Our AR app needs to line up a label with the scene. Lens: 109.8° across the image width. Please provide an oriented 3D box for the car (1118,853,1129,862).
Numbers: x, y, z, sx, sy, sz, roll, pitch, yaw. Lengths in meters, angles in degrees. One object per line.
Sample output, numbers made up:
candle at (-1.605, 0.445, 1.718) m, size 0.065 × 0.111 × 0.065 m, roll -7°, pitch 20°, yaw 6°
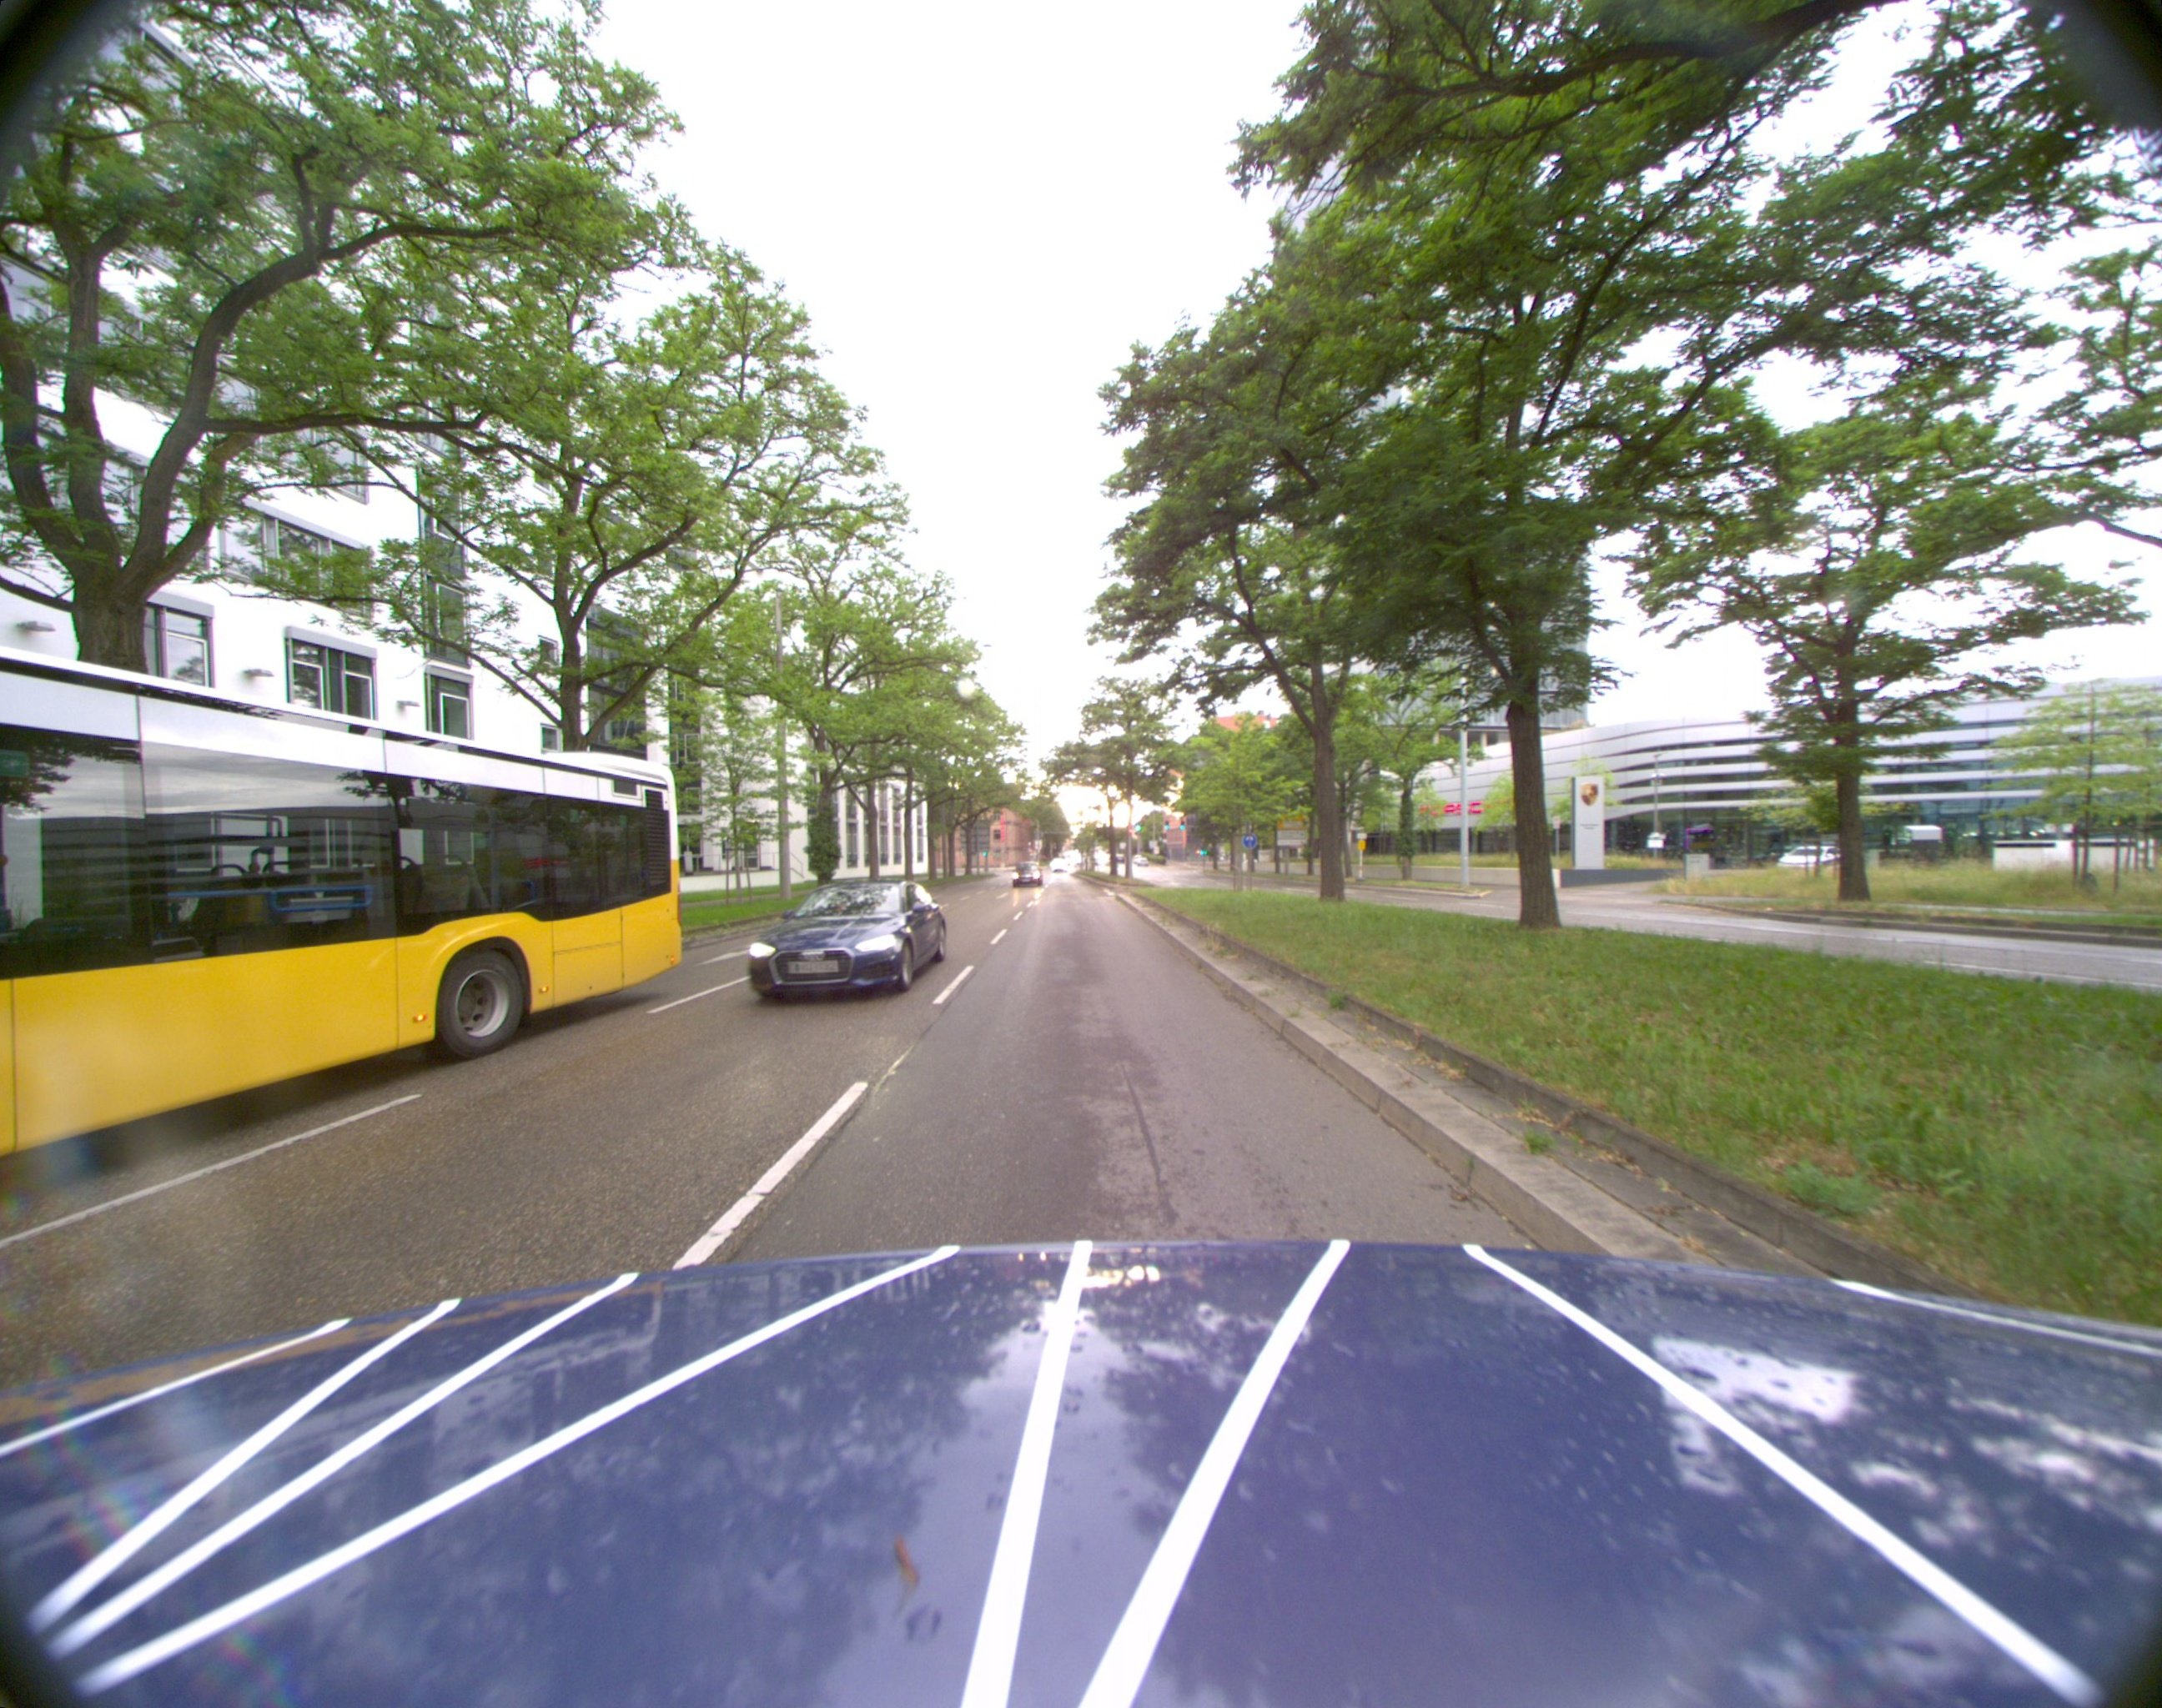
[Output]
car at (8.347, 0.707, 150.392) m, size 1.846 × 1.581 × 4.172 m, roll 0°, pitch 1°, yaw -2°

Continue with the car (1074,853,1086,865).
car at (-0.098, 0.832, 127.957) m, size 1.931 × 2.002 × 4.000 m, roll -1°, pitch 0°, yaw 1°

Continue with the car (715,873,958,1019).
car at (-3.055, 1.072, 10.559) m, size 1.878 × 1.346 × 4.331 m, roll -3°, pitch 1°, yaw 0°

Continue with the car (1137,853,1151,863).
car at (10.914, 0.692, 132.401) m, size 1.894 × 1.445 × 3.998 m, roll -3°, pitch 1°, yaw -2°

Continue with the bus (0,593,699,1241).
bus at (-6.599, 0.354, 4.075) m, size 2.734 × 3.133 × 12.146 m, roll -3°, pitch 0°, yaw 0°

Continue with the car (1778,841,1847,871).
car at (39.052, 0.095, 40.548) m, size 4.006 × 1.405 × 1.774 m, roll -4°, pitch 1°, yaw -33°

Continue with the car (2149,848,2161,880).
car at (48.905, 0.351, 33.366) m, size 4.004 × 1.316 × 1.617 m, roll -3°, pitch 1°, yaw -25°

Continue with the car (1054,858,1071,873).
car at (-2.358, 1.431, 96.042) m, size 1.998 × 1.707 × 4.000 m, roll -1°, pitch 0°, yaw 1°

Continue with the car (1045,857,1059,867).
car at (-4.571, 1.220, 121.296) m, size 1.998 × 1.576 × 4.000 m, roll -1°, pitch 0°, yaw 1°

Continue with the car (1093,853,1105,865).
car at (3.121, 0.832, 132.210) m, size 1.998 × 2.002 × 4.000 m, roll -1°, pitch 0°, yaw 1°

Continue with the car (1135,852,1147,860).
car at (11.741, 0.369, 149.614) m, size 1.783 × 1.445 × 3.998 m, roll -3°, pitch 1°, yaw -2°

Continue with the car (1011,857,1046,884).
car at (-3.209, 1.003, 47.053) m, size 1.625 × 1.426 × 3.551 m, roll -3°, pitch 1°, yaw 3°
